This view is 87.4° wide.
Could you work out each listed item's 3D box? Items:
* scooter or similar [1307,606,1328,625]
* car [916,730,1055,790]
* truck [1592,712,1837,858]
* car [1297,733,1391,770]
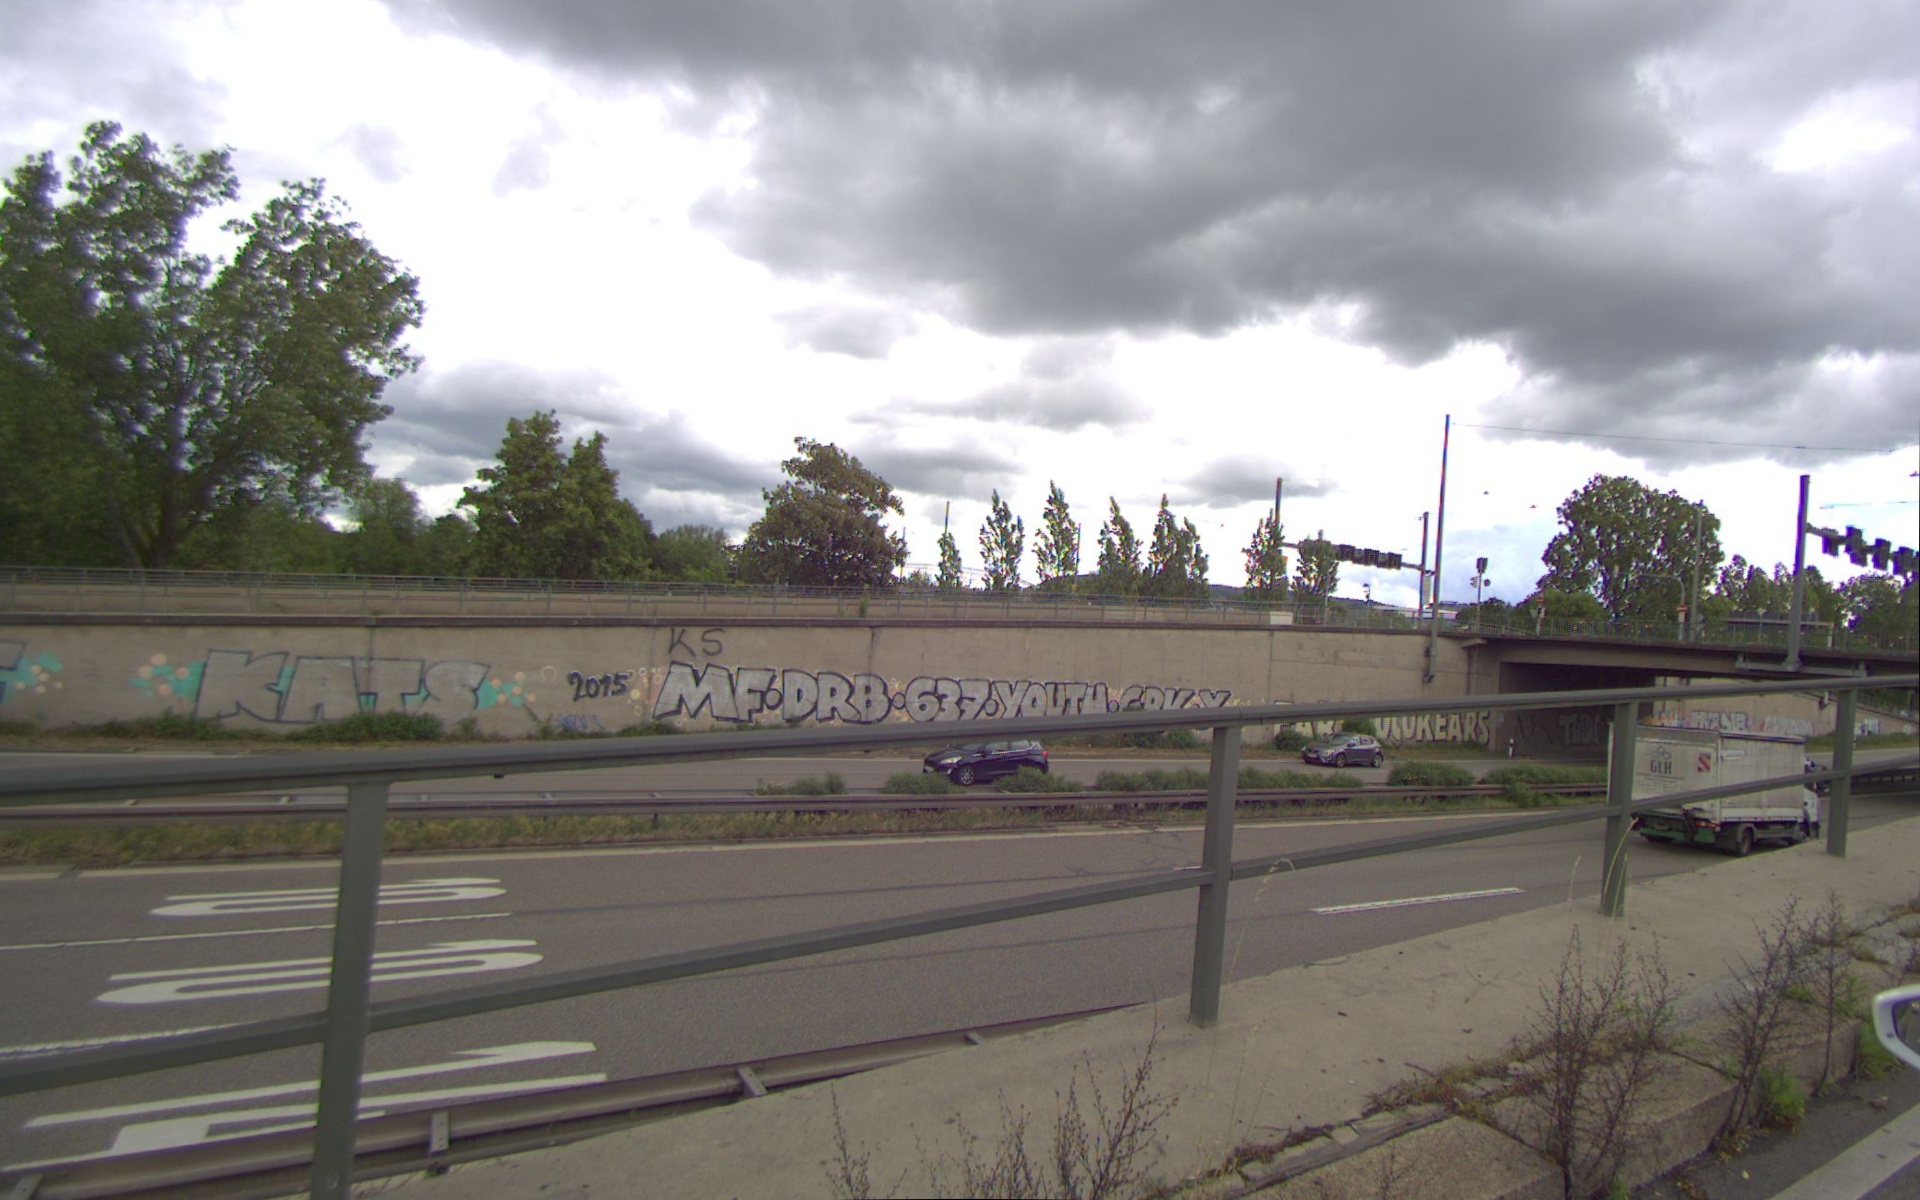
[{"bbox_3d":[22.550,0.971,63.417,1.403,1.108,0.539,4,-2,-36],"label":"scooter or similar"},{"bbox_3d":[0.778,4.793,30.141,3.815,1.520,1.656,6,-4,-30],"label":"car"},{"bbox_3d":[20.858,4.949,27.655,7.357,3.335,2.733,5,-3,-30],"label":"truck"},{"bbox_3d":[16.891,6.658,44.132,4.065,1.393,1.702,6,-4,-31],"label":"car"}]
